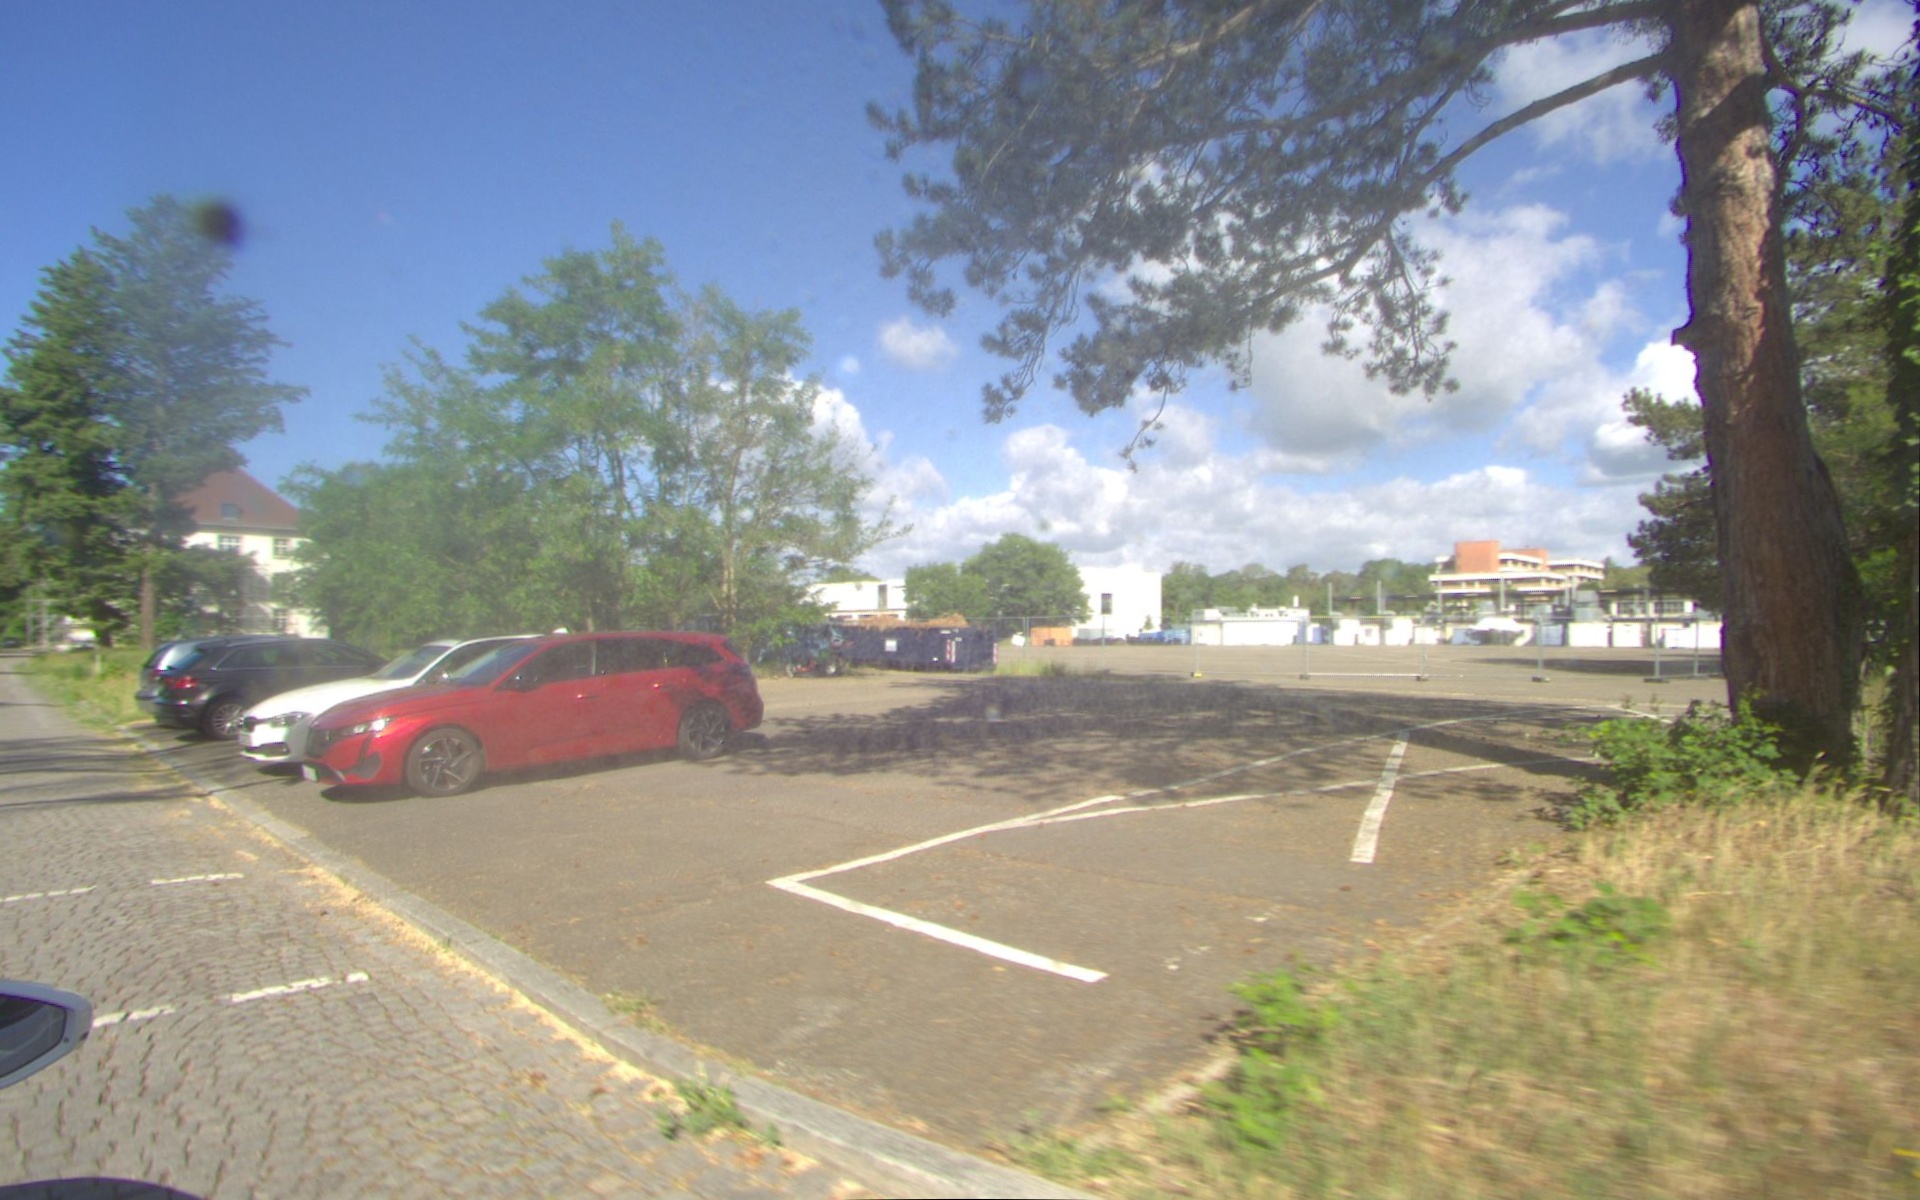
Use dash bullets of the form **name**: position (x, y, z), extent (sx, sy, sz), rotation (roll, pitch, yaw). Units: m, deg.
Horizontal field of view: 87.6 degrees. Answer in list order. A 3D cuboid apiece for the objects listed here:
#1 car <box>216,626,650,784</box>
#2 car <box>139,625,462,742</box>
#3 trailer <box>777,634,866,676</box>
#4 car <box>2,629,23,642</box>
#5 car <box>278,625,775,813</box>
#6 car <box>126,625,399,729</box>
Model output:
- **car**: position (-6.429, 1.157, 12.646), extent (1.819, 1.484, 4.488), rotation (-2, 0, 42)
- **car**: position (-10.406, 1.215, 15.994), extent (1.824, 1.460, 3.980), rotation (-1, 1, 43)
- **trailer**: position (-3.849, 1.539, 28.051), extent (1.024, 1.119, 2.388), rotation (-1, -3, 41)
- **car**: position (-131.935, 4.944, 139.409), extent (1.959, 1.689, 4.045), rotation (1, -2, -45)
- **car**: position (-4.406, 1.069, 10.732), extent (1.875, 1.440, 4.509), rotation (-2, 0, 44)
- **car**: position (-12.355, 1.275, 17.886), extent (1.734, 1.496, 3.718), rotation (-1, 0, 43)
